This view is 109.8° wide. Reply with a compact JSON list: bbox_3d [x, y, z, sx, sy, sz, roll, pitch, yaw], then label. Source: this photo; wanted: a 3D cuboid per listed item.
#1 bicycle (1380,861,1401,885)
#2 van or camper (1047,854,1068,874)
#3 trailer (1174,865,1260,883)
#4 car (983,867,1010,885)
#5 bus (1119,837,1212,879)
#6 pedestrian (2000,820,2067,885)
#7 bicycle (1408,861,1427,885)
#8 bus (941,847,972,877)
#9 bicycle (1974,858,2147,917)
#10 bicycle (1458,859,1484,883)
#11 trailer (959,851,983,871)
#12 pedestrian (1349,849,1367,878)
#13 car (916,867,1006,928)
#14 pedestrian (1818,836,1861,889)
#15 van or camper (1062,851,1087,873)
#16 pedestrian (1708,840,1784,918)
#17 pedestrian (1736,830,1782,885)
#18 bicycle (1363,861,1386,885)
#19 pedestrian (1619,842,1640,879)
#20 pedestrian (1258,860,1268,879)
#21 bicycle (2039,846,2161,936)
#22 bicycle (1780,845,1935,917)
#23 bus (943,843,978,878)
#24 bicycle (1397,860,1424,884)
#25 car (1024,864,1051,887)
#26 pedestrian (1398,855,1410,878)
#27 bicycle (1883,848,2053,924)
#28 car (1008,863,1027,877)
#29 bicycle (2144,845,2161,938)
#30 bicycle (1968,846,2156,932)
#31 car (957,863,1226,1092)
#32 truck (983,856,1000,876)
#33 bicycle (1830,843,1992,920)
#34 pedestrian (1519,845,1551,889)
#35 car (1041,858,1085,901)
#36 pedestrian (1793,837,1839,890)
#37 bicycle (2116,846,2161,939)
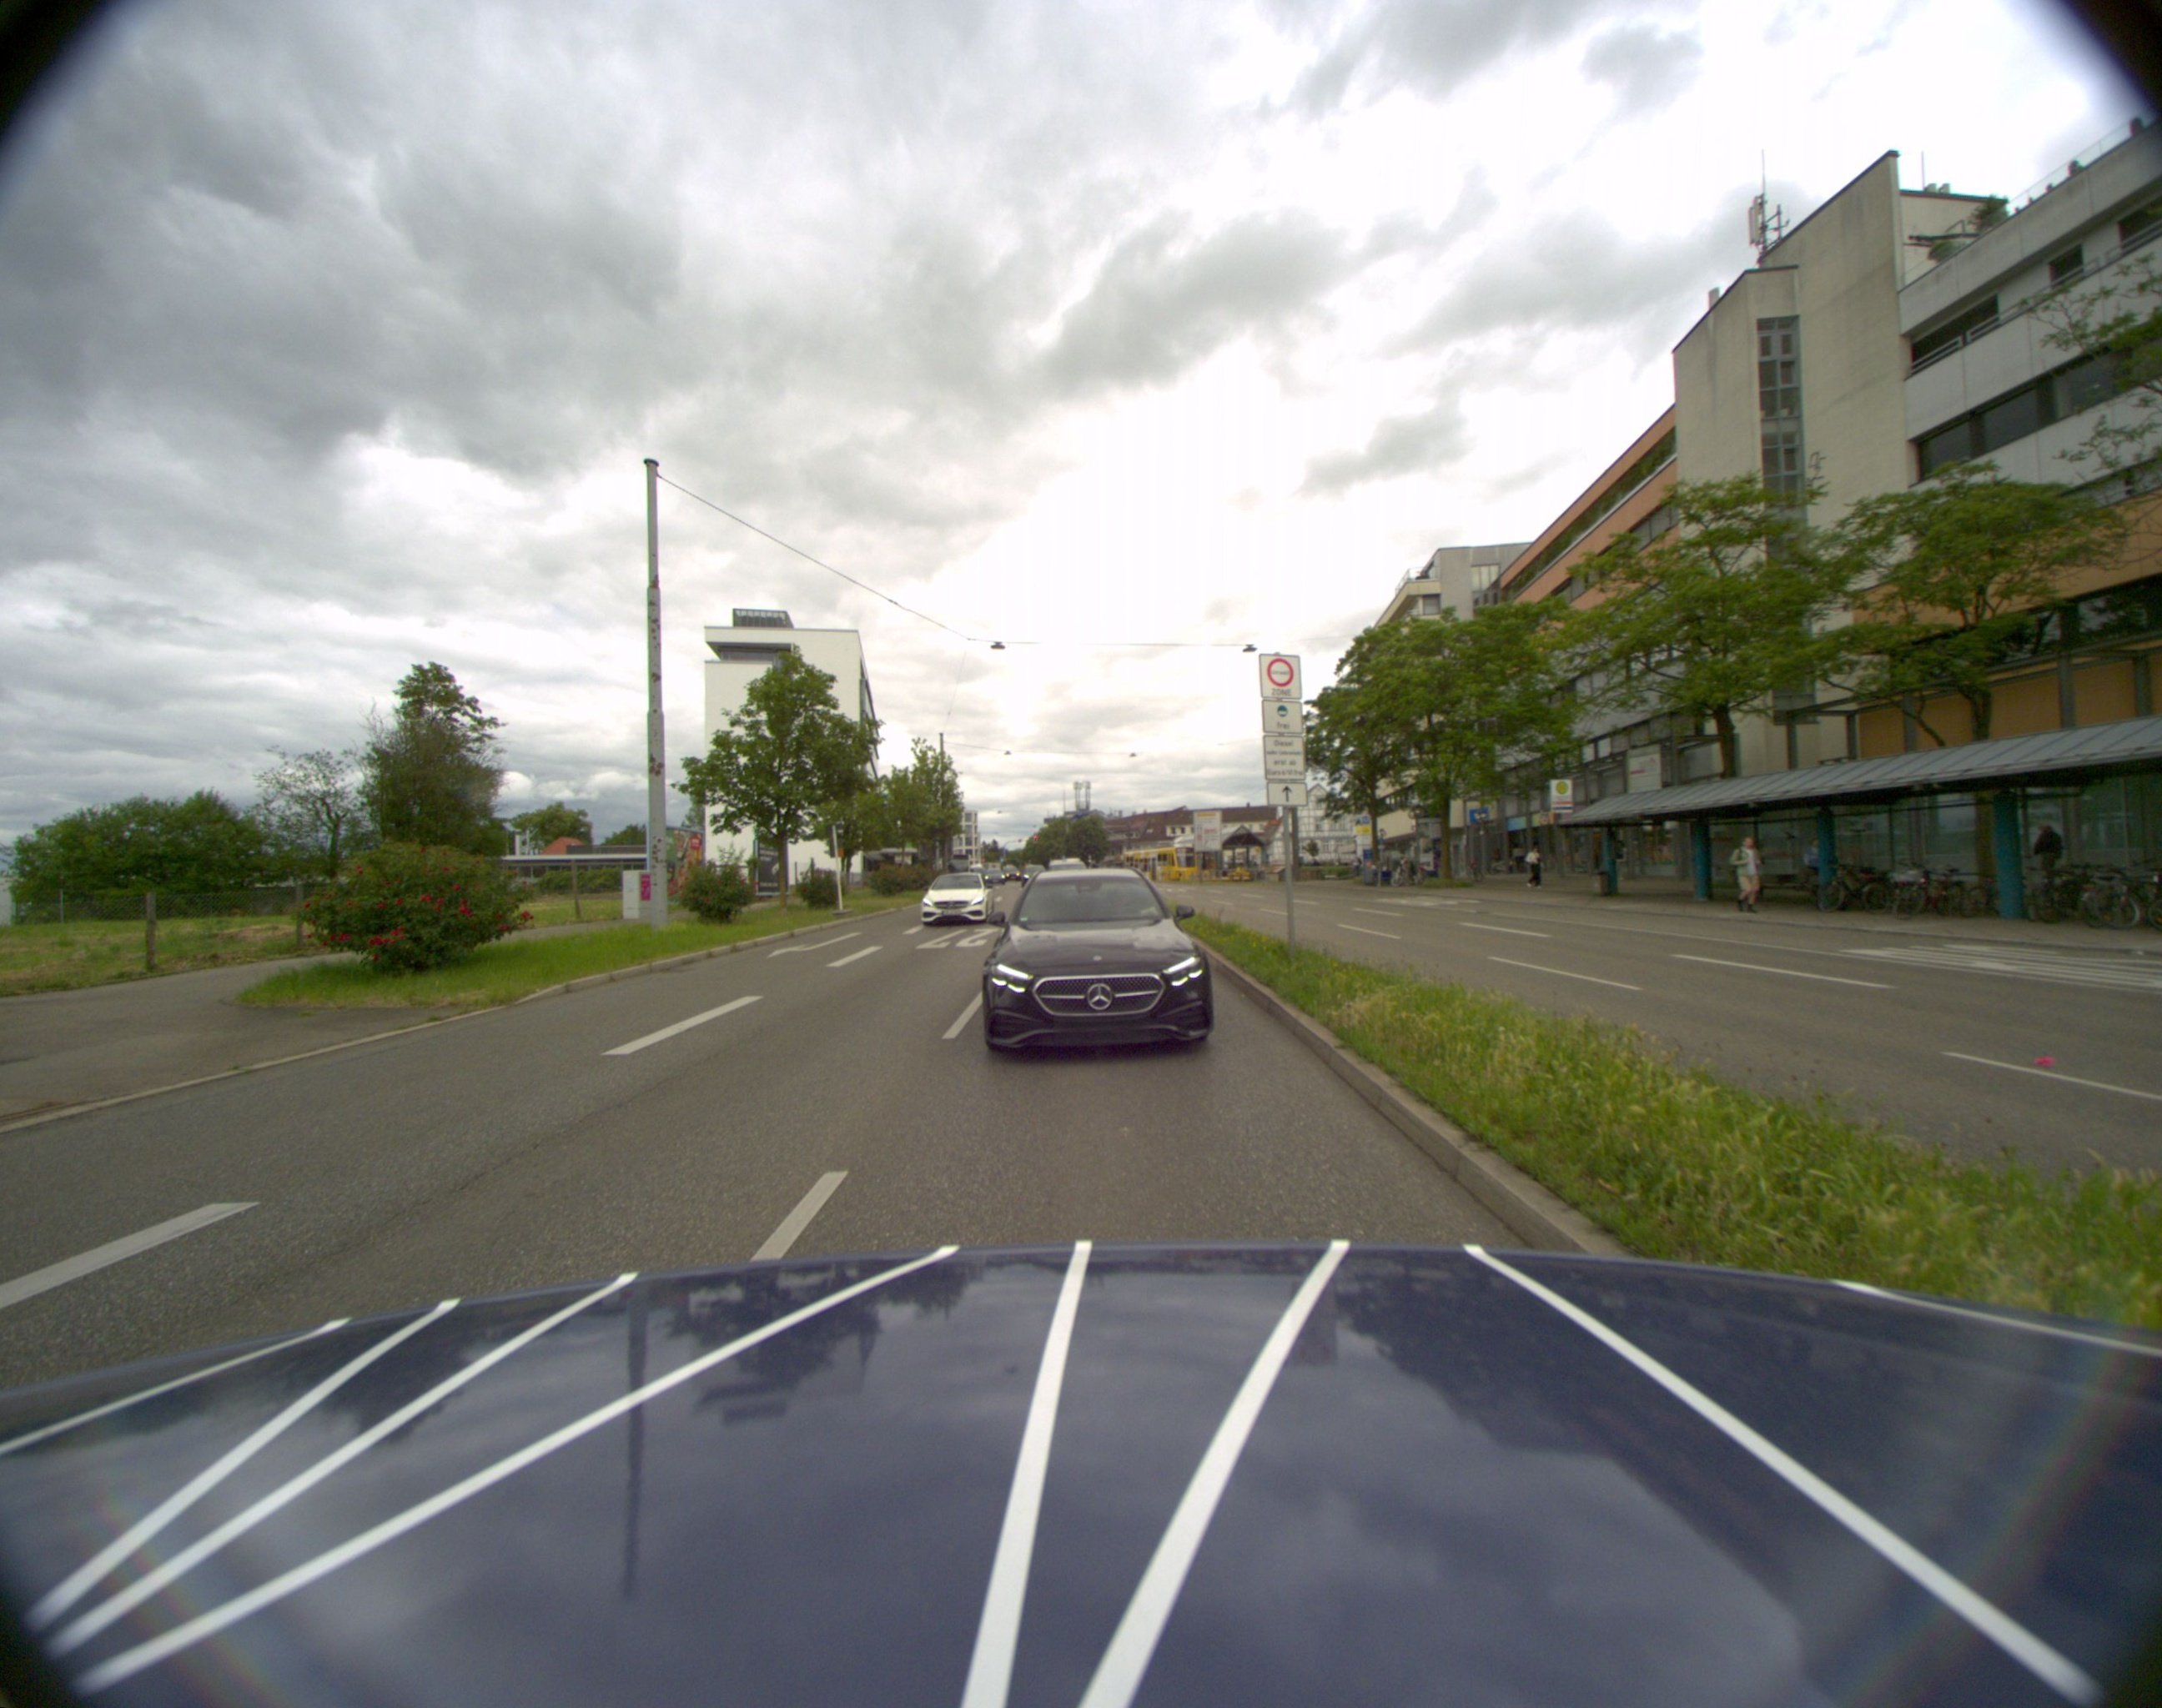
[{"bbox_3d":[15.451,0.953,37.862,0.603,1.154,1.969,-2,-1,32],"label":"bicycle"},{"bbox_3d":[-3.226,1.325,102.341,2.000,2.582,6.112,1,-1,-9],"label":"van or camper"},{"bbox_3d":[11.184,1.680,64.116,2.851,1.325,12.116,-1,-1,-11],"label":"trailer"},{"bbox_3d":[-7.495,1.947,67.951,1.735,1.474,4.370,-2,-1,2],"label":"car"},{"bbox_3d":[8.332,0.583,79.678,3.891,3.836,19.325,-1,-1,-11],"label":"bus"},{"bbox_3d":[26.157,-0.044,20.881,0.772,1.706,0.790,-3,0,1],"label":"pedestrian"},{"bbox_3d":[16.273,0.903,36.768,0.603,1.154,1.693,-2,-1,32],"label":"bicycle"},{"bbox_3d":[-14.172,0.943,85.785,3.047,3.216,9.330,-1,-1,-12],"label":"bus"},{"bbox_3d":[20.022,0.669,15.551,2.908,1.106,0.805,-1,0,-8],"label":"bicycle"},{"bbox_3d":[19.268,0.811,37.509,0.672,1.154,2.023,-2,-1,40],"label":"bicycle"},{"bbox_3d":[-25.869,1.698,177.929,3.115,4.243,14.828,-1,-2,-18],"label":"trailer"},{"bbox_3d":[18.161,0.645,49.774,0.747,1.866,0.873,-1,0,-8],"label":"pedestrian"},{"bbox_3d":[-3.443,1.203,22.725,1.872,1.496,4.773,-3,0,0],"label":"car"},{"bbox_3d":[23.726,0.272,23.775,0.634,1.590,0.622,-3,0,-3],"label":"pedestrian"},{"bbox_3d":[-0.864,0.984,91.132,2.039,2.582,6.111,1,-1,-10],"label":"van or camper"},{"bbox_3d":[16.313,0.597,18.672,0.705,1.812,1.213,-3,1,-3],"label":"pedestrian"},{"bbox_3d":[21.833,0.117,24.489,0.774,1.706,0.787,-3,0,18],"label":"pedestrian"},{"bbox_3d":[14.916,0.949,38.562,0.603,1.154,1.969,-4,-1,33],"label":"bicycle"},{"bbox_3d":[24.245,0.295,33.592,0.633,1.590,0.624,-3,0,31],"label":"pedestrian"},{"bbox_3d":[15.018,1.273,62.822,0.601,1.564,0.620,-1,-1,-10],"label":"pedestrian"},{"bbox_3d":[18.656,0.616,13.410,2.908,1.497,0.778,-1,0,-8],"label":"bicycle"},{"bbox_3d":[18.352,0.629,17.993,2.908,1.498,0.972,-3,0,-8],"label":"bicycle"},{"bbox_3d":[-12.242,0.721,76.463,2.993,3.221,9.857,-1,-1,-11],"label":"bus"},{"bbox_3d":[16.562,0.901,38.207,0.604,1.154,1.966,-1,-1,4],"label":"bicycle"},{"bbox_3d":[-3.125,1.497,53.888,1.736,1.474,4.367,-2,-1,-5],"label":"car"},{"bbox_3d":[24.115,0.939,56.770,0.551,1.690,0.628,-1,0,-9],"label":"pedestrian"},{"bbox_3d":[18.667,0.649,16.015,2.908,1.497,0.811,-1,0,-6],"label":"bicycle"},{"bbox_3d":[-7.333,1.826,87.640,1.735,1.544,4.369,-2,-1,0],"label":"car"},{"bbox_3d":[18.940,0.584,12.371,2.908,1.497,0.598,-1,0,-8],"label":"bicycle"},{"bbox_3d":[18.498,0.638,14.352,2.908,1.497,0.805,-1,0,-8],"label":"bicycle"},{"bbox_3d":[0.024,0.954,7.979,1.872,1.542,4.773,-4,-1,-1],"label":"car"},{"bbox_3d":[-18.166,2.482,154.354,2.948,3.933,9.159,1,-2,-10],"label":"truck"},{"bbox_3d":[18.526,0.599,16.986,2.908,1.498,0.891,-4,0,-8],"label":"bicycle"},{"bbox_3d":[18.367,0.521,30.765,0.777,1.703,0.706,-3,0,-5],"label":"pedestrian"},{"bbox_3d":[-0.714,1.043,33.054,1.735,1.680,4.369,-2,-1,0],"label":"car"},{"bbox_3d":[23.012,0.295,23.809,0.668,1.574,0.706,-3,0,-5],"label":"pedestrian"},{"bbox_3d":[18.846,0.597,12.575,2.908,1.497,0.700,-1,0,-8],"label":"bicycle"}]
